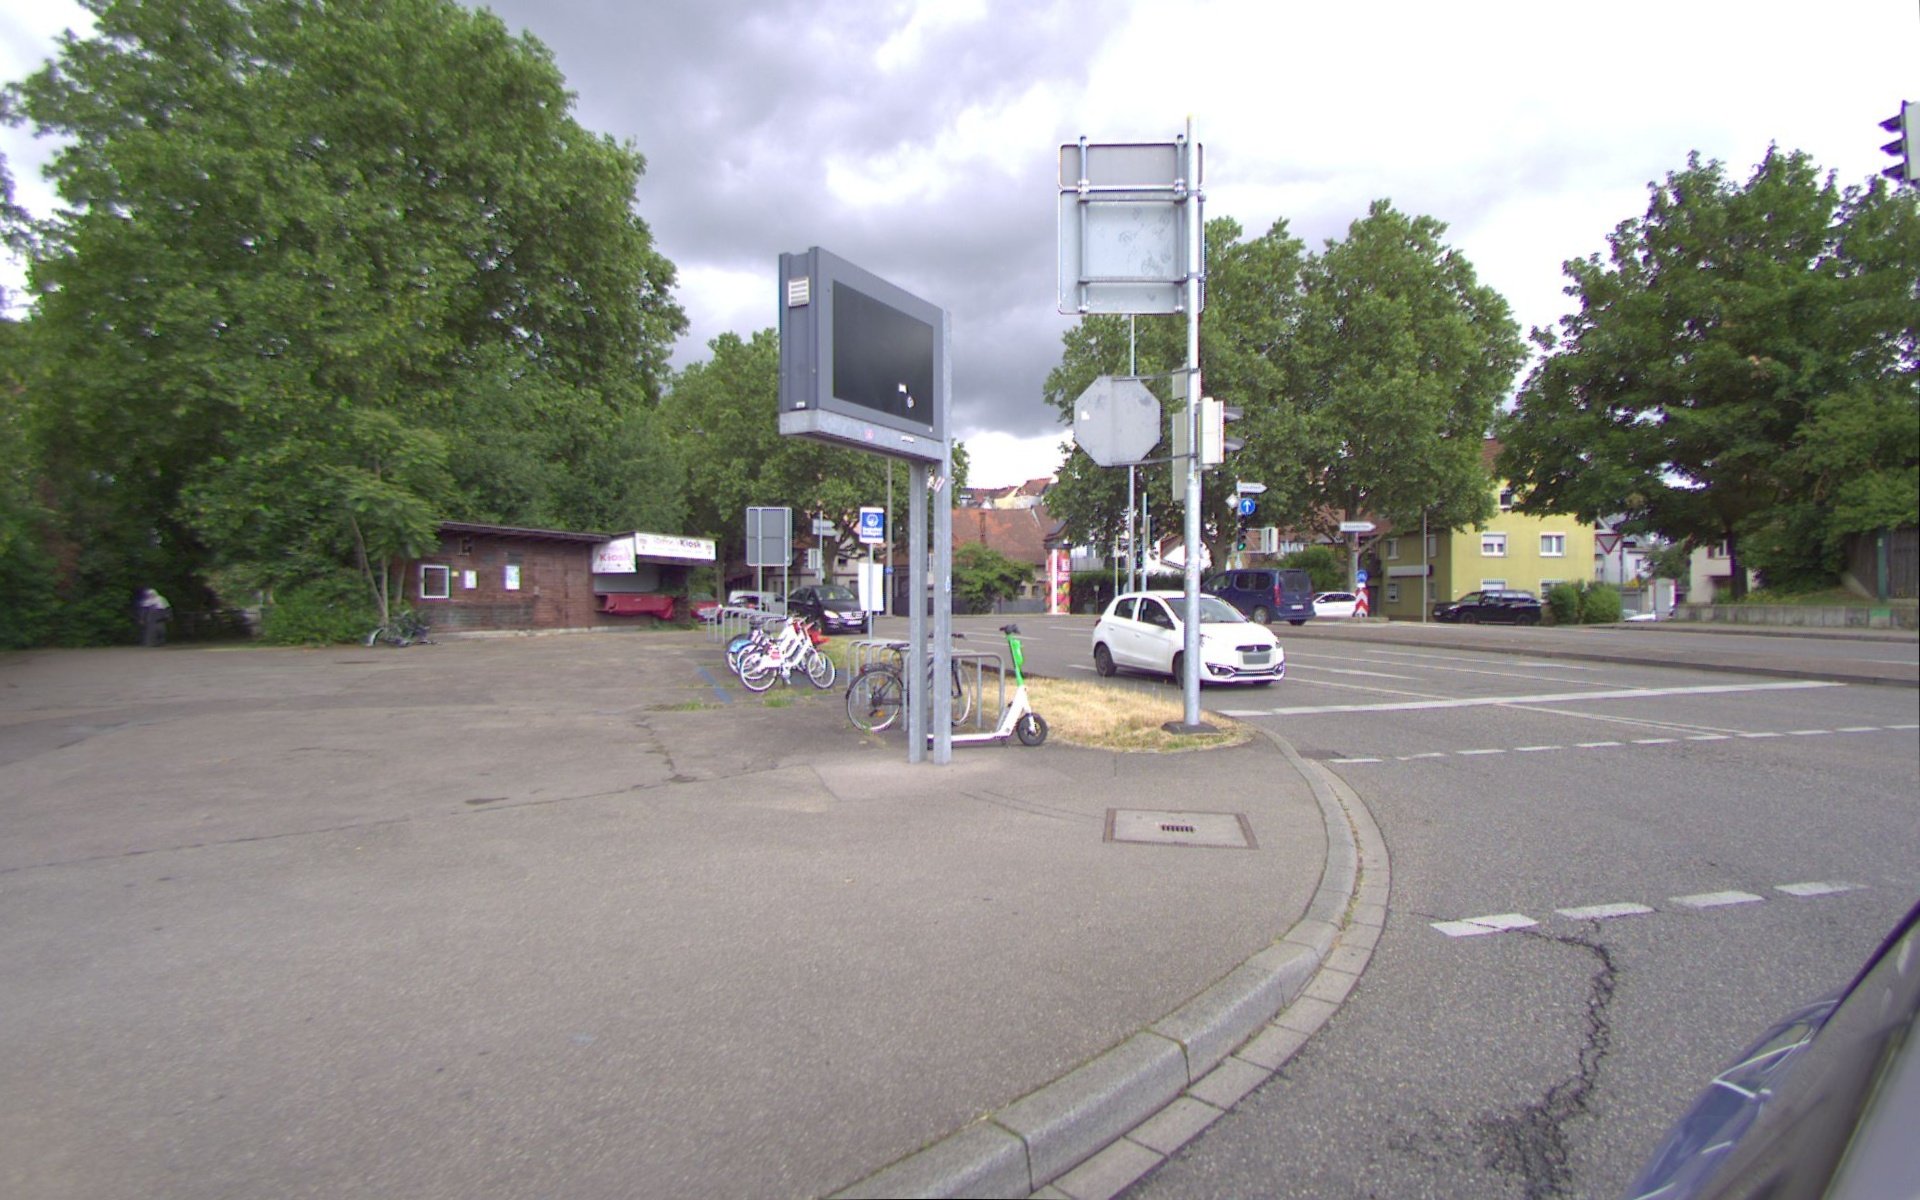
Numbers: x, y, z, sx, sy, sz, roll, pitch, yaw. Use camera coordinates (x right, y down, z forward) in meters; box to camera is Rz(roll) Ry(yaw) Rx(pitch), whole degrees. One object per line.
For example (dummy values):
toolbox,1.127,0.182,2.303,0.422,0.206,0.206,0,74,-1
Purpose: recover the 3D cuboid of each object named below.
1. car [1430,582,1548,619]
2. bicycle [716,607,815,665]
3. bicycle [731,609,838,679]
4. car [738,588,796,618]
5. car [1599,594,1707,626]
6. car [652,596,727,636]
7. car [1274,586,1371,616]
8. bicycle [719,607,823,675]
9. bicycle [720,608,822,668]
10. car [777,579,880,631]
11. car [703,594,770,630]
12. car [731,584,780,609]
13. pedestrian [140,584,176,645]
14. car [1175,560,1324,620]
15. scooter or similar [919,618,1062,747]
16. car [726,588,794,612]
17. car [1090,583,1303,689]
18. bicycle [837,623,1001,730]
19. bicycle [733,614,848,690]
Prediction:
car,24.457,0.014,46.861,4.502,1.673,1.813,0,0,-2
bicycle,-3.877,0.699,20.178,1.844,1.065,0.599,-1,1,-20
bicycle,-3.098,0.761,17.923,1.777,1.129,0.583,-1,2,-25
car,-10.067,0.138,52.573,1.640,1.448,3.583,-1,2,-35
car,32.263,0.434,47.197,3.807,1.415,1.663,0,1,2
car,-12.464,0.678,46.497,1.862,1.637,4.508,-1,2,-35
car,16.550,0.048,46.247,3.725,1.337,1.815,0,0,-9
bicycle,-3.472,0.734,18.603,1.777,1.129,0.583,-1,2,-25
bicycle,-3.647,0.718,19.530,1.844,1.065,0.599,-1,1,-20
car,-4.345,0.139,32.943,1.688,1.550,4.189,-1,0,-32
car,-9.405,0.489,42.398,1.760,1.450,3.645,0,0,-30
car,-12.849,-0.231,63.531,1.698,1.466,4.002,-1,1,-32
pedestrian,-21.536,0.391,27.174,0.486,1.584,0.620,-2,2,-16
car,8.929,-0.306,31.585,1.795,1.727,4.480,-1,1,-31
scooter or similar,0.278,0.749,9.590,1.205,1.126,0.656,-1,0,-15
car,-14.654,-0.008,74.363,4.811,1.720,1.727,0,1,-45
car,3.768,0.494,16.735,1.640,1.465,3.612,-2,2,-22
bicycle,-0.442,0.801,11.033,1.666,1.058,0.609,-1,0,-25
bicycle,-2.772,0.826,16.587,1.777,1.129,0.583,-1,2,-25
